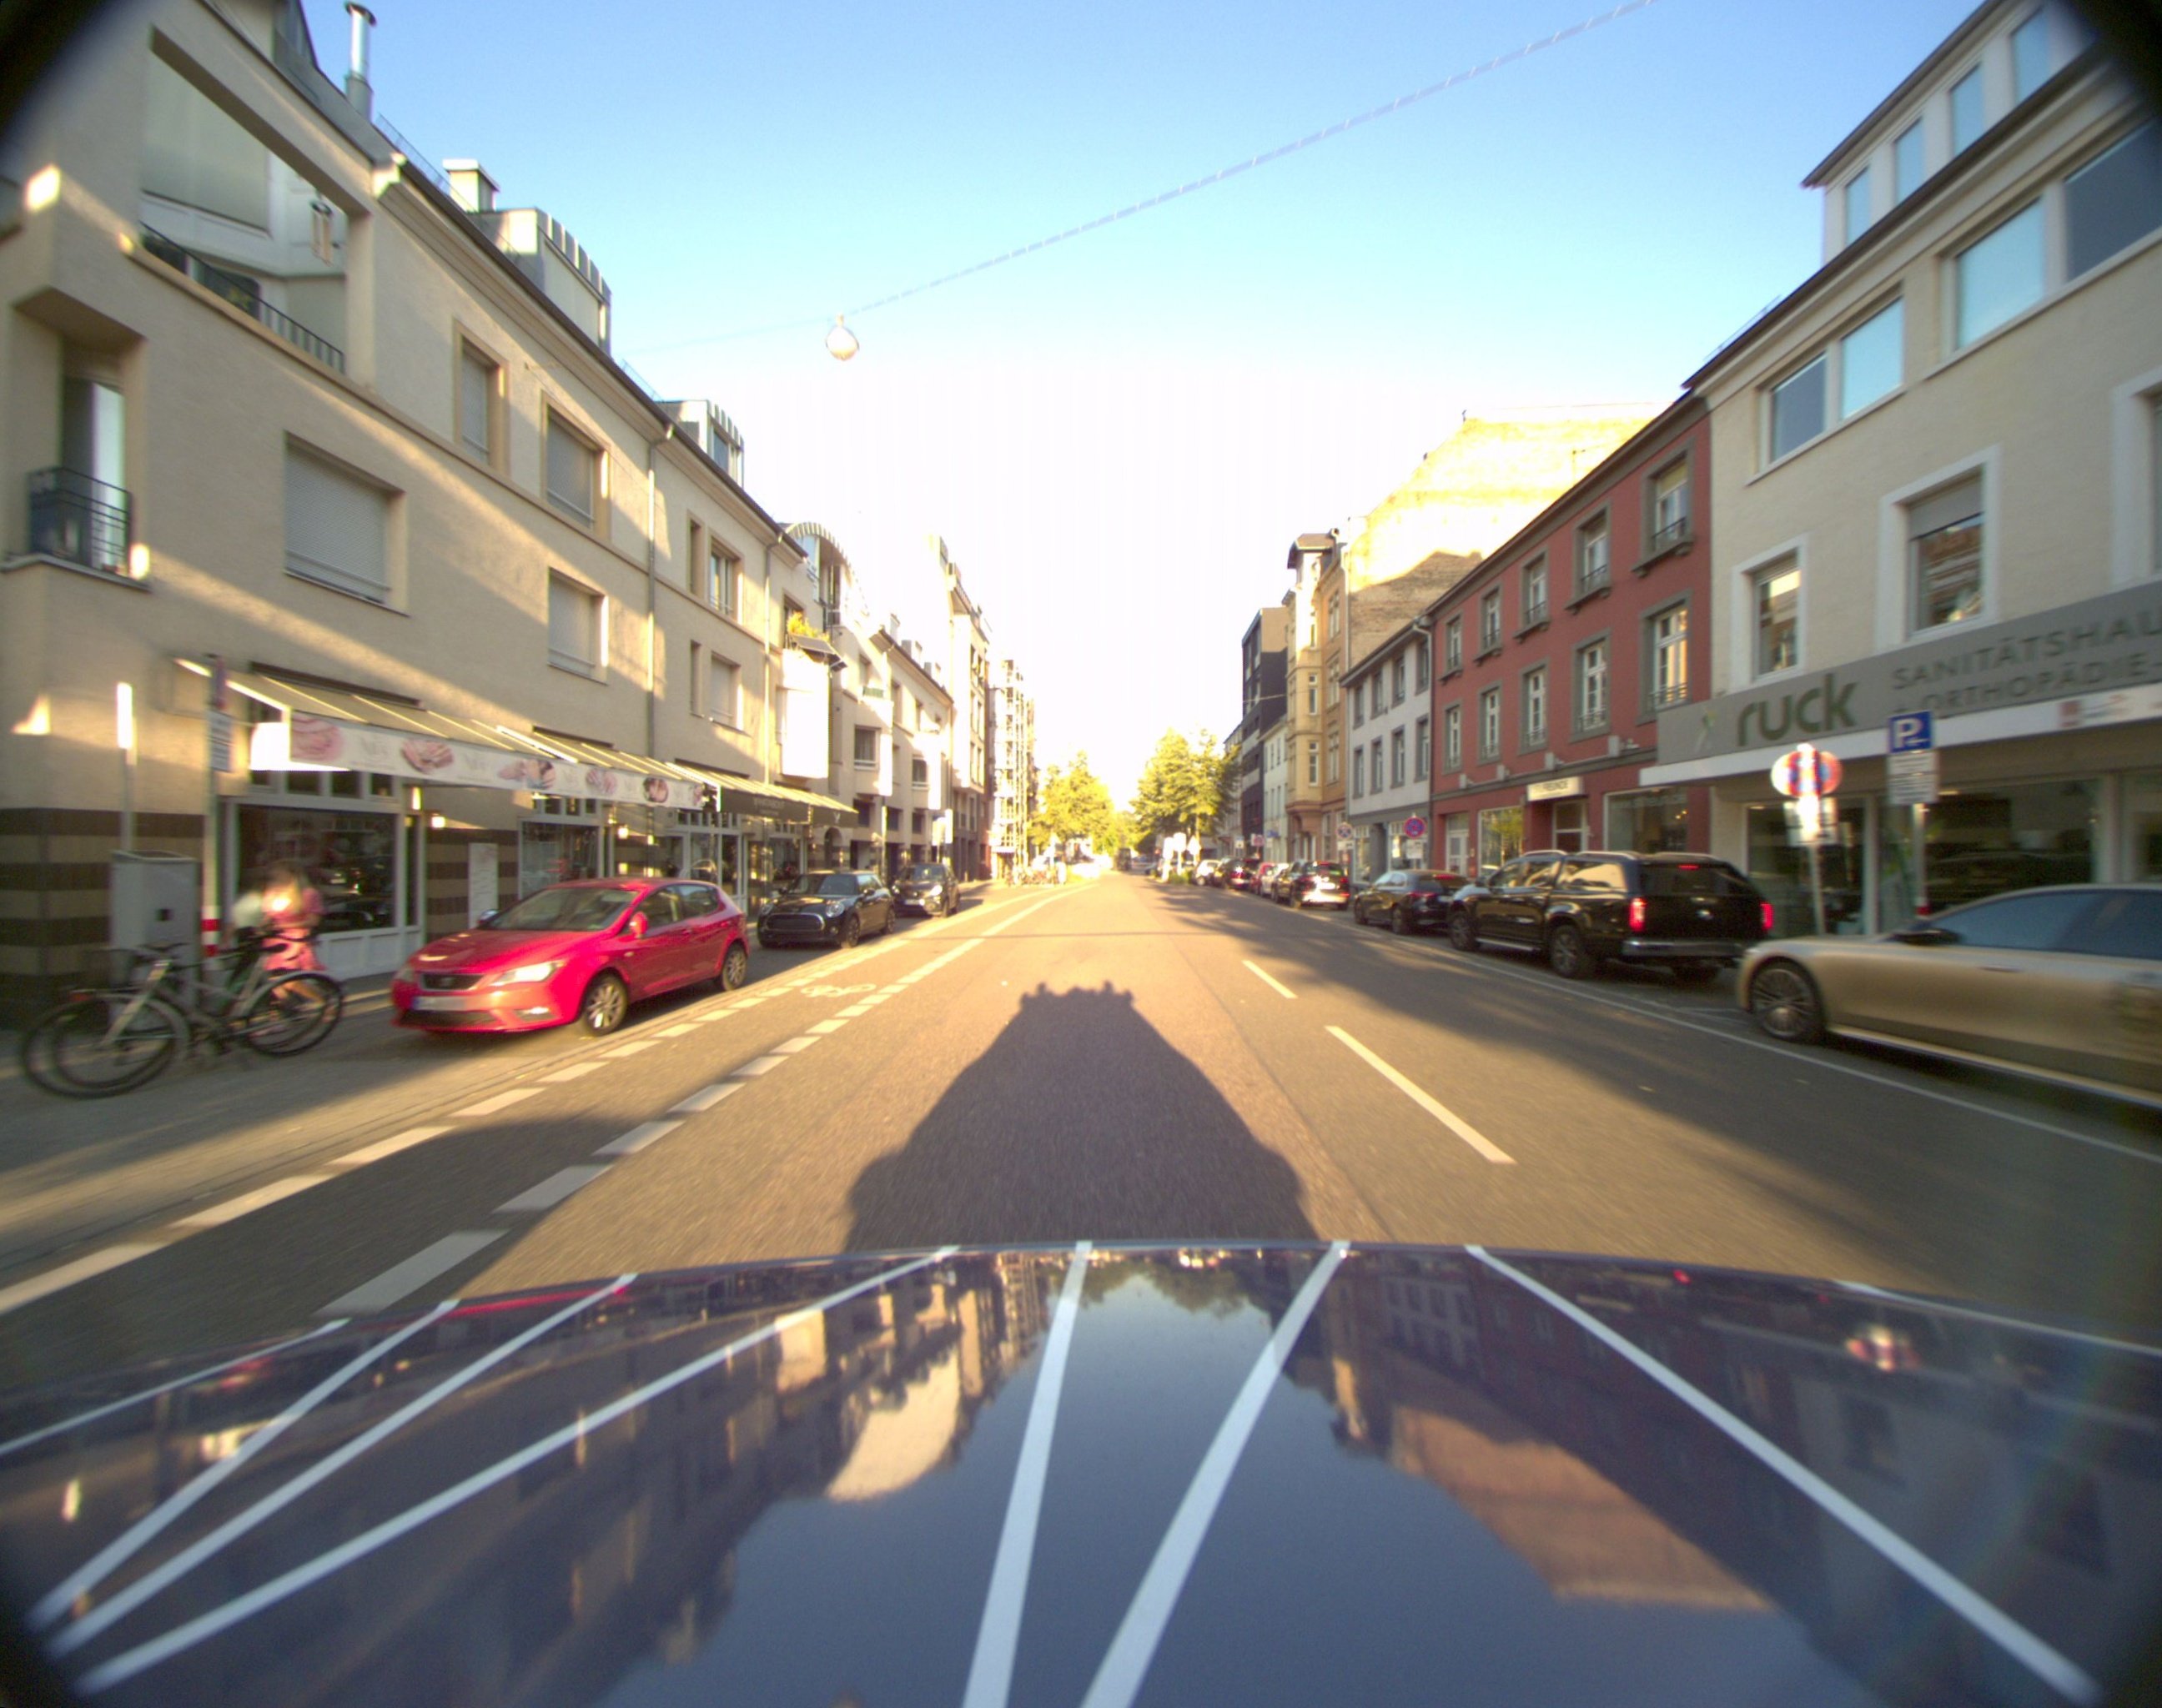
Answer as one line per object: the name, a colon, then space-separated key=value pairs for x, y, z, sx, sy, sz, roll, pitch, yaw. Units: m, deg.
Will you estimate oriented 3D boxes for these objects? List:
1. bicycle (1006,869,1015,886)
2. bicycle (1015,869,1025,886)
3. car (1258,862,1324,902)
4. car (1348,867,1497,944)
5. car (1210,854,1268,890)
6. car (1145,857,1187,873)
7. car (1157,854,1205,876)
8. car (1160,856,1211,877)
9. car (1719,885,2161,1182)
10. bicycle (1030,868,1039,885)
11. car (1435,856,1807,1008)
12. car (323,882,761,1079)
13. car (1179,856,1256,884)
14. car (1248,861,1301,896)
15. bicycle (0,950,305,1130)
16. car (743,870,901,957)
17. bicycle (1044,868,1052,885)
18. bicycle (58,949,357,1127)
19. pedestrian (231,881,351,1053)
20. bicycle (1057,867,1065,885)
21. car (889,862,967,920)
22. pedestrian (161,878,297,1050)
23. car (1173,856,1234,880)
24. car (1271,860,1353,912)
bicycle: x=-4.119 y=1.362 z=44.274 sx=0.470 sy=0.952 sz=1.918 roll=0 pitch=0 yaw=-4
bicycle: x=-3.527 y=1.342 z=44.155 sx=0.470 sy=0.952 sz=1.918 roll=0 pitch=0 yaw=-2
car: x=8.458 y=1.104 z=30.889 sx=1.770 sy=1.455 sz=3.868 roll=1 pitch=0 yaw=3
car: x=7.805 y=1.100 z=17.819 sx=1.770 sy=1.502 sz=4.218 roll=1 pitch=0 yaw=3
car: x=8.176 y=0.891 z=39.727 sx=2.055 sy=1.742 sz=4.217 roll=1 pitch=0 yaw=-1
car: x=9.362 y=1.191 z=83.900 sx=4.197 sy=1.618 sz=2.053 roll=1 pitch=0 yaw=-15
car: x=9.447 y=0.991 z=71.772 sx=4.192 sy=1.971 sz=2.056 roll=1 pitch=0 yaw=-2
car: x=9.141 y=1.075 z=66.564 sx=4.131 sy=1.666 sz=1.996 roll=1 pitch=0 yaw=-1
car: x=6.932 y=1.057 z=4.620 sx=1.998 sy=1.502 sz=5.114 roll=1 pitch=0 yaw=3
bicycle: x=-2.737 y=1.321 z=44.440 sx=0.470 sy=0.952 sz=1.918 roll=0 pitch=0 yaw=-2
car: x=7.640 y=0.934 z=11.673 sx=1.998 sy=1.759 sz=5.299 roll=1 pitch=0 yaw=1
car: x=-5.221 y=1.097 z=8.167 sx=1.726 sy=1.413 sz=4.033 roll=1 pitch=0 yaw=2
car: x=8.172 y=0.963 z=45.858 sx=4.192 sy=1.572 sz=2.056 roll=1 pitch=0 yaw=-2
car: x=8.796 y=1.097 z=34.861 sx=1.689 sy=1.455 sz=3.543 roll=1 pitch=0 yaw=3
bicycle: x=-6.866 y=1.304 z=5.713 sx=0.392 sy=0.951 sz=1.639 roll=0 pitch=0 yaw=0
car: x=-4.963 y=1.078 z=15.115 sx=1.726 sy=1.413 sz=3.749 roll=1 pitch=0 yaw=2
bicycle: x=-1.931 y=1.298 z=44.570 sx=0.470 sy=0.952 sz=1.918 roll=0 pitch=0 yaw=-2
bicycle: x=-6.422 y=1.292 z=5.726 sx=0.392 sy=0.950 sz=1.615 roll=0 pitch=0 yaw=0
pedestrian: x=-7.397 y=1.029 z=7.128 sx=0.541 sy=1.521 sz=0.555 roll=0 pitch=1 yaw=8
bicycle: x=-1.176 y=1.276 z=44.654 sx=0.470 sy=0.952 sz=1.918 roll=0 pitch=0 yaw=-2
car: x=-4.386 y=1.020 z=22.105 sx=1.571 sy=1.540 sz=2.803 roll=1 pitch=0 yaw=2
pedestrian: x=-8.022 y=1.004 z=7.179 sx=0.541 sy=1.521 sz=0.651 roll=0 pitch=1 yaw=8
car: x=8.568 y=0.964 z=53.491 sx=3.910 sy=1.572 sz=1.959 roll=1 pitch=0 yaw=-2
car: x=7.938 y=1.053 z=26.513 sx=1.770 sy=1.604 sz=4.218 roll=1 pitch=0 yaw=3
